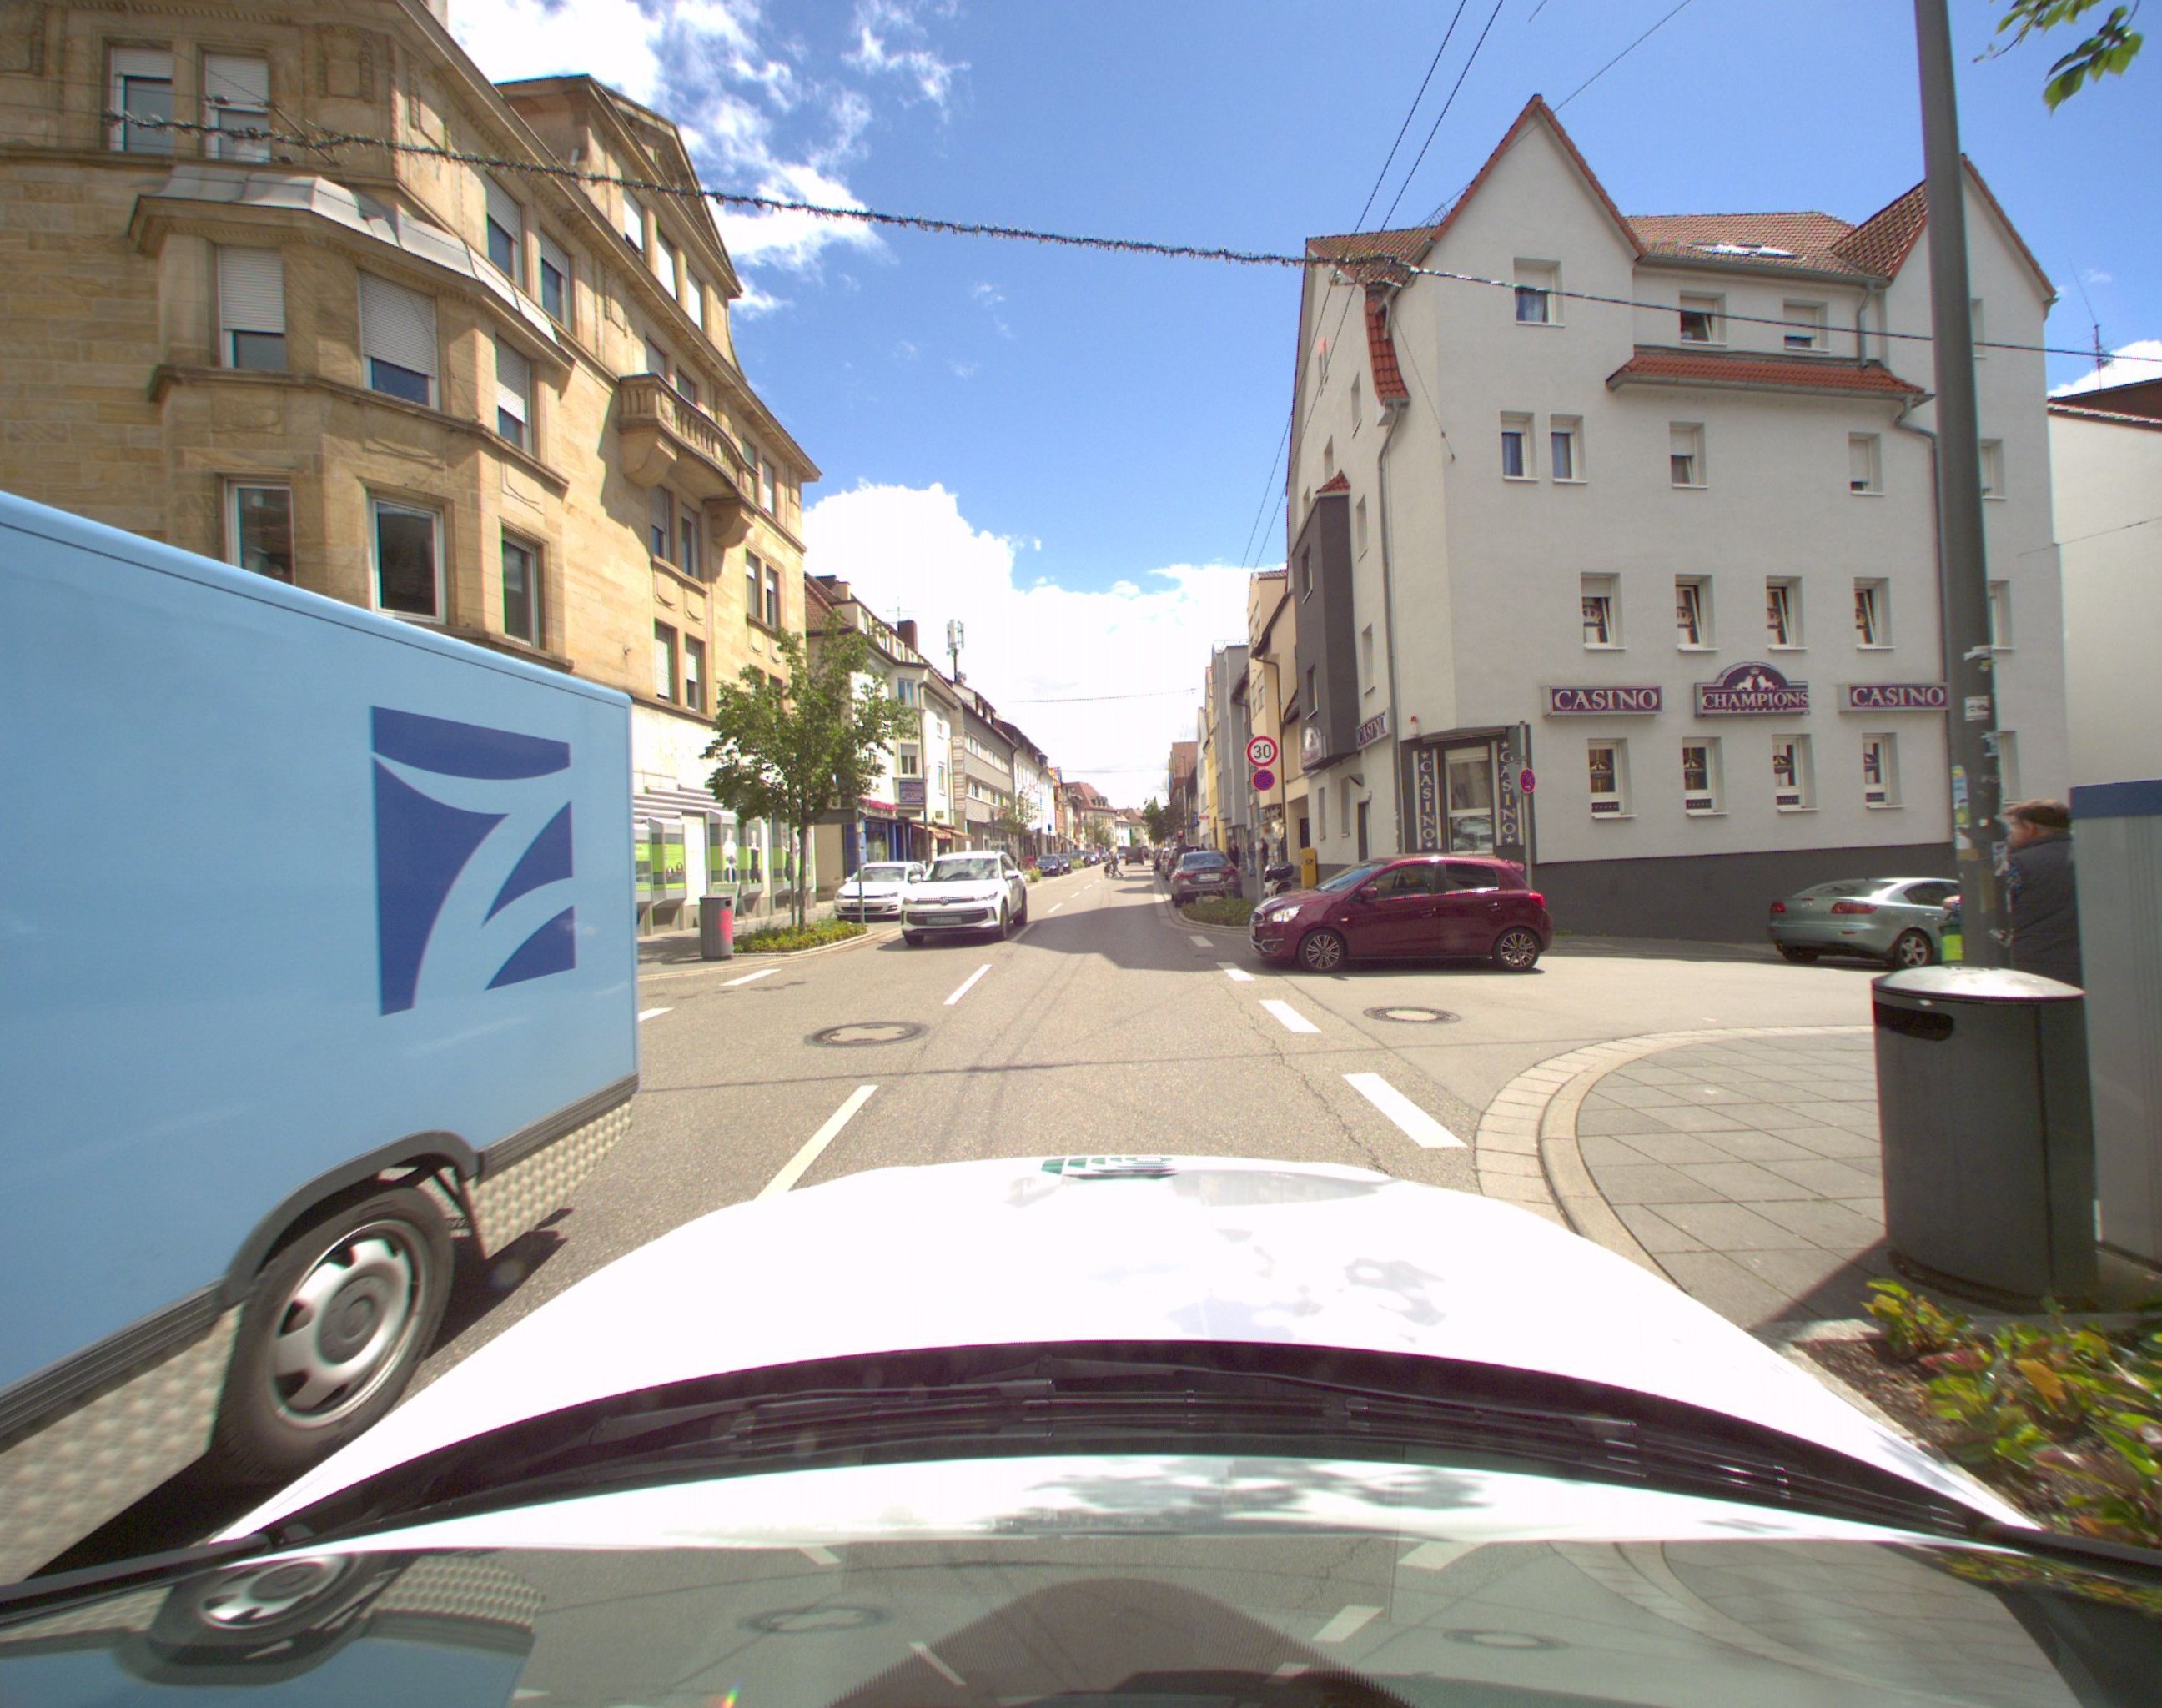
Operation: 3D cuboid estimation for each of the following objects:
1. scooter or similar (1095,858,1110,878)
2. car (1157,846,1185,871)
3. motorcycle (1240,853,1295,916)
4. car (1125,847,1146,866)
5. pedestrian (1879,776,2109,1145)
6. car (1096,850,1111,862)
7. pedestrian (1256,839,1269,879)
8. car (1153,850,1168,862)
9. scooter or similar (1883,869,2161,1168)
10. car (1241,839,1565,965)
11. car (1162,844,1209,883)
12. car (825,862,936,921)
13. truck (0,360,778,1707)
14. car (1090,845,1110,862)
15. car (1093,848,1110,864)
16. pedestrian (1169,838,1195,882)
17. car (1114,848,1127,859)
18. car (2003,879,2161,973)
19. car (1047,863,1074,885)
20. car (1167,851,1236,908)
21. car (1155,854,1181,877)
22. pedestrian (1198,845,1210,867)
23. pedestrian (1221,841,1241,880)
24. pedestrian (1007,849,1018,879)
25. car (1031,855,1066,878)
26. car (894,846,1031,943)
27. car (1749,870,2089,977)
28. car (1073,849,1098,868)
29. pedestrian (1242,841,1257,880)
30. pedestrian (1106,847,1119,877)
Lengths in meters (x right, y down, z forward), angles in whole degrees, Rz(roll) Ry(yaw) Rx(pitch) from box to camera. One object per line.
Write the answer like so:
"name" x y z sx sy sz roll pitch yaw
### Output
"scooter or similar" 1.194 0.772 45.547 0.779 1.126 0.630 -1 -1 0
"car" 5.890 0.332 53.629 1.681 1.574 3.760 -1 -1 4
"motorcycle" 3.981 0.628 17.525 0.656 1.259 2.376 -1 -1 1
"car" 5.547 0.252 82.993 2.031 1.848 5.004 -1 -1 4
"pedestrian" 4.485 0.493 4.031 0.569 1.703 0.481 -1 -1 -3
"car" 3.169 0.303 112.230 1.791 1.598 4.395 -2 0 5
"pedestrian" 7.975 0.219 35.721 0.434 1.718 0.537 -1 -1 2
"car" 9.588 0.249 98.083 1.712 1.494 4.116 -1 -1 6
"scooter or similar" 4.874 0.722 4.094 0.429 1.280 1.249 -1 -1 0
"car" 4.121 0.612 10.858 3.730 1.530 1.538 -1 -1 3
"car" 4.830 0.416 38.155 1.792 1.603 4.208 -4 0 3
"car" -5.186 0.935 21.635 1.839 1.398 4.038 -1 -1 2
"truck" -2.870 0.326 1.398 2.098 2.305 6.478 -1 -1 2
"car" 2.161 -0.031 92.144 1.807 1.755 4.471 -1 -1 6
"car" 2.530 0.299 99.606 1.807 1.889 4.848 -1 -1 5
"pedestrian" 4.412 0.265 35.679 0.971 1.863 0.865 -4 -1 3
"car" 6.238 -0.034 127.614 1.896 1.563 4.652 -1 -1 5
"car" 18.251 1.237 13.688 3.822 1.399 1.844 3 -1 -8
"car" -1.515 1.499 61.556 1.783 1.503 4.179 -1 0 1
"car" 3.272 0.662 22.456 1.698 1.420 4.327 -1 -1 7
"car" 6.195 0.783 58.133 1.682 1.472 4.529 -1 1 4
"pedestrian" 9.171 0.162 60.622 0.746 1.553 0.727 -3 -1 4
"pedestrian" 6.693 0.297 36.401 0.740 1.718 0.656 -2 -1 3
"pedestrian" -4.189 0.607 49.701 0.546 1.757 0.729 -1 -1 1
"car" -2.194 0.830 56.083 1.782 1.513 4.718 -2 0 4
"car" -2.160 0.720 15.999 1.779 1.640 4.120 -1 -1 4
"car" 13.227 1.062 12.986 3.875 1.399 1.844 3 -1 -8
"car" 0.450 0.423 78.807 1.806 1.755 4.678 -1 -1 7
"pedestrian" 7.503 0.291 36.227 0.533 1.718 0.607 -1 -1 3
"pedestrian" 1.766 0.446 45.570 0.729 1.618 0.651 -1 -1 0
